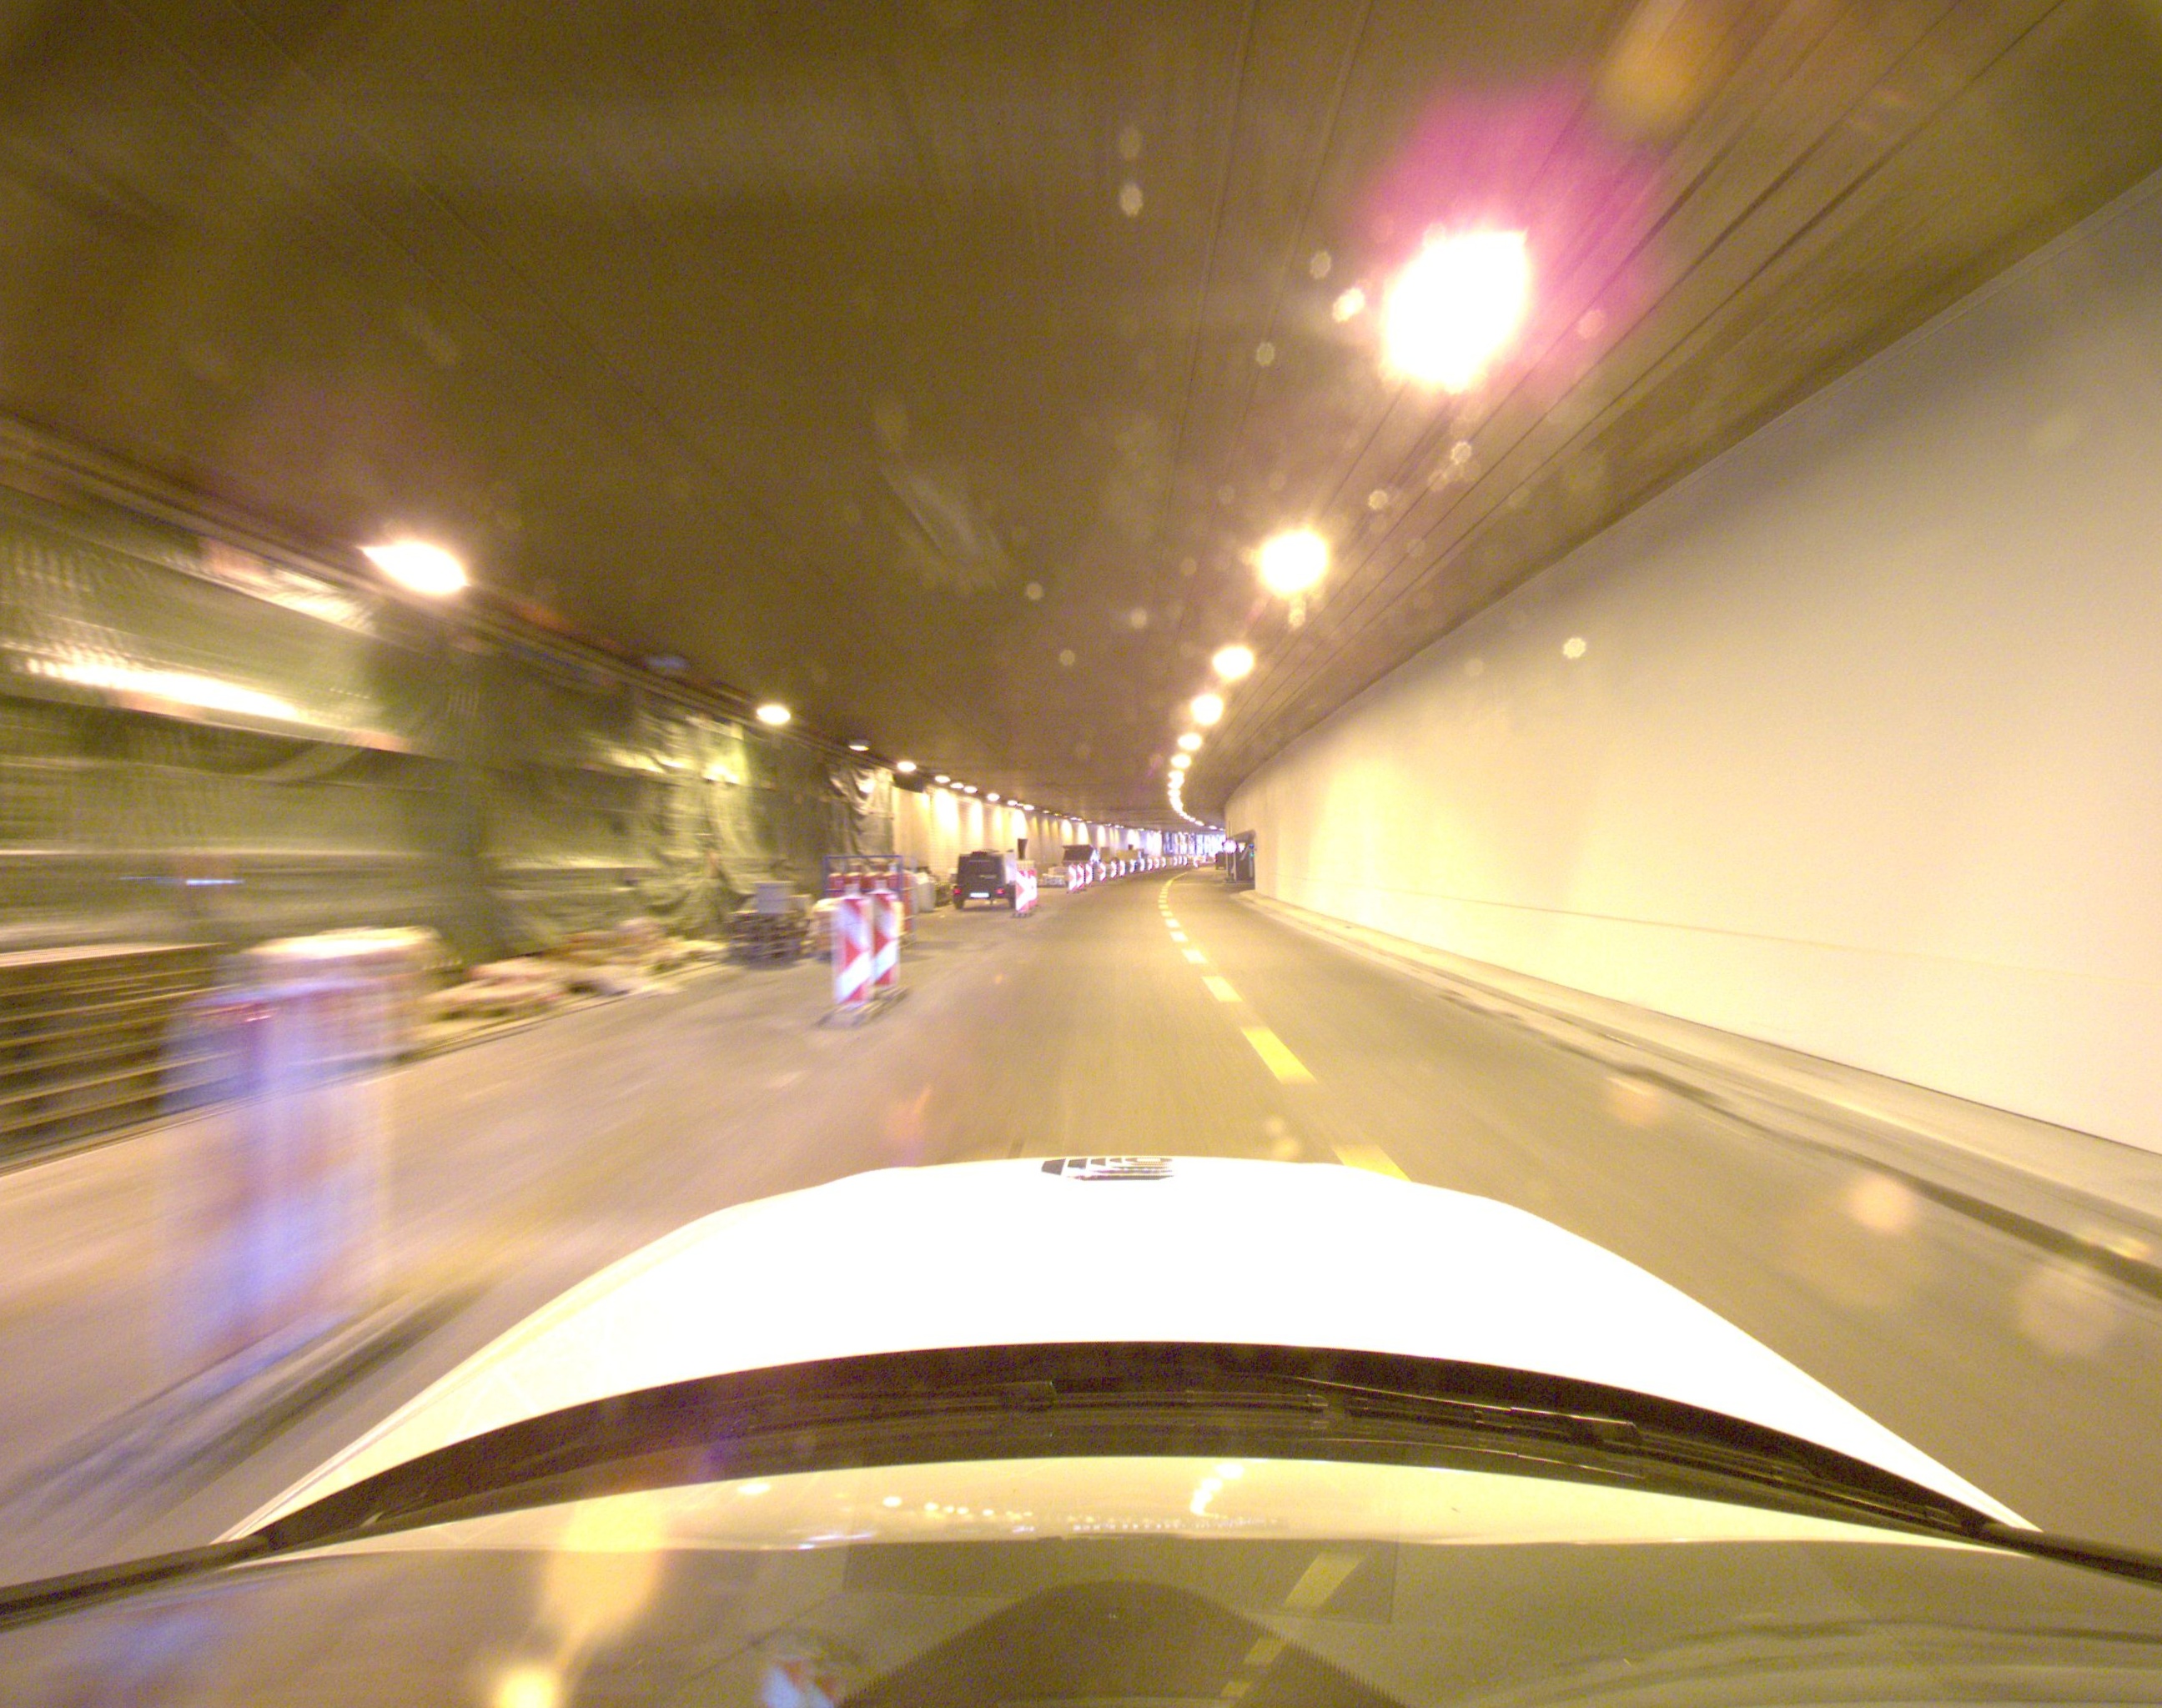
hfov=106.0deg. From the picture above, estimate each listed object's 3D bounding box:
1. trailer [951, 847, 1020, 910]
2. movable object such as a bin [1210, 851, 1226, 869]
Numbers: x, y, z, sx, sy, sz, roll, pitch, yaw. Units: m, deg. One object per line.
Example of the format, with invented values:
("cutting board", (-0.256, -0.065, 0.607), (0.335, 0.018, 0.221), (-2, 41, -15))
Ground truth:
("trailer", (-2.842, 0.709, 24.721), (1.574, 1.798, 2.942), (-1, -1, 3))
("movable object such as a bin", (11.561, 0.499, 68.775), (1.187, 1.460, 1.610), (-3, -1, 11))
